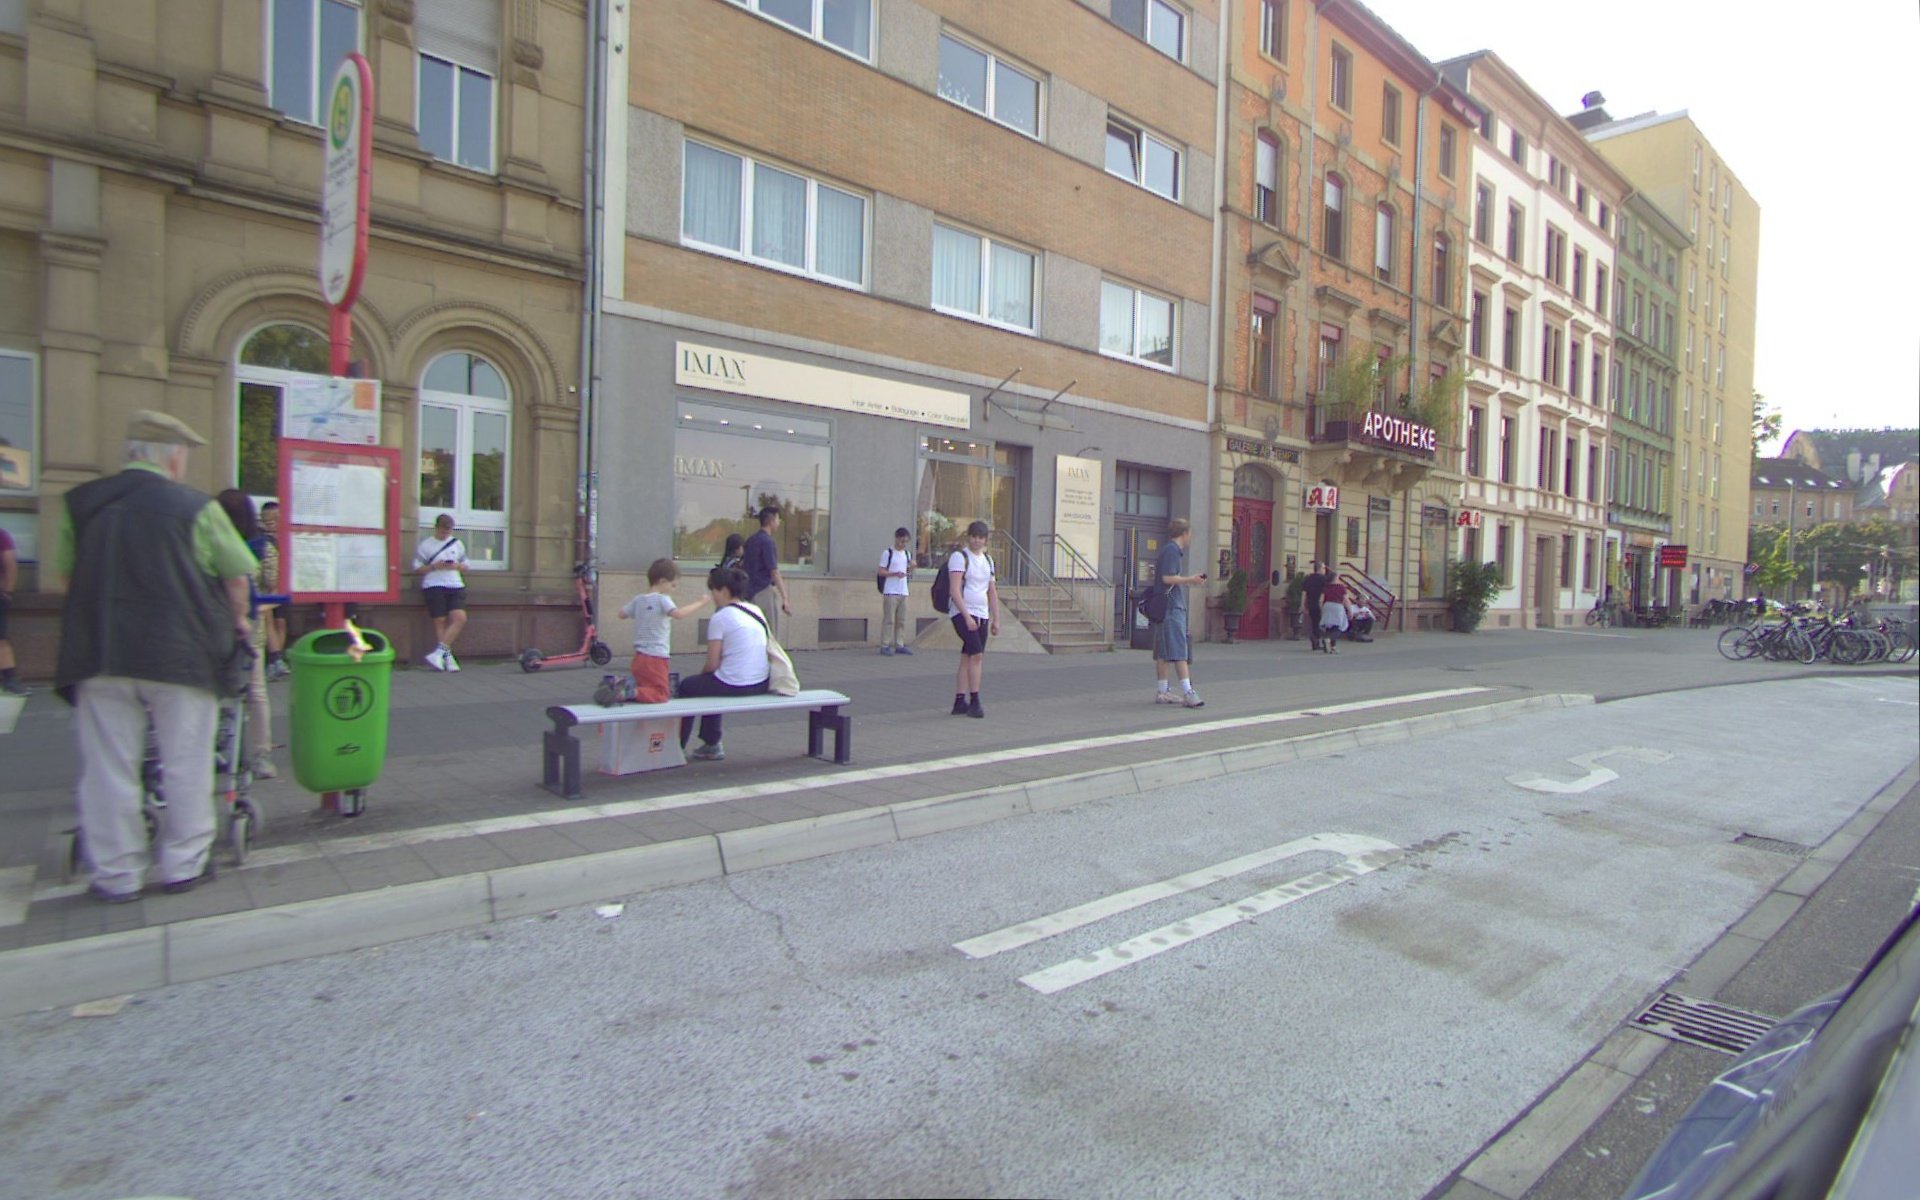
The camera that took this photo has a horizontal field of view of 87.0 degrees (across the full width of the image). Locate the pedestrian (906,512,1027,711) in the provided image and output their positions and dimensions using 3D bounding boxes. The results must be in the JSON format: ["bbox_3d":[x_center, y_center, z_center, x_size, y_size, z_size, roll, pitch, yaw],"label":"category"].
[{"bbox_3d":[0.060,0.087,9.426,0.788,1.750,0.750,1,1,-44],"label":"pedestrian"}]

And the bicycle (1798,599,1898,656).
[{"bbox_3d":[19.779,0.592,22.572,0.379,1.163,1.634,0,2,-45],"label":"bicycle"}]

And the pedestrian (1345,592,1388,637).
[{"bbox_3d":[9.228,0.319,22.997,0.623,0.994,0.615,1,1,-21],"label":"pedestrian"}]

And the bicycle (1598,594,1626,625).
[{"bbox_3d":[24.721,0.350,38.374,1.689,1.148,0.384,0,2,-41],"label":"bicycle"}]

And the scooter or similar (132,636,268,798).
[{"bbox_3d":[-4.014,0.588,5.344,0.506,0.750,0.565,0,2,-44],"label":"scooter or similar"}]

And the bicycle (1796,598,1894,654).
[{"bbox_3d":[20.273,0.580,23.210,0.379,1.163,1.634,0,2,-45],"label":"bicycle"}]

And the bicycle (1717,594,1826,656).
[{"bbox_3d":[16.776,0.498,20.954,0.590,1.163,1.637,0,2,-38],"label":"bicycle"}]

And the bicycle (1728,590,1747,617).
[{"bbox_3d":[38.158,0.173,49.651,0.602,1.277,1.968,2,2,41],"label":"bicycle"}]

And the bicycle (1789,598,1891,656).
[{"bbox_3d":[19.257,0.565,22.176,0.379,1.163,1.634,0,2,-45],"label":"bicycle"}]

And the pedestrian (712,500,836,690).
[{"bbox_3d":[-1.891,-0.055,10.307,1.052,1.826,0.618,0,1,-40],"label":"pedestrian"}]

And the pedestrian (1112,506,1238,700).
[{"bbox_3d":[2.174,0.015,10.266,0.788,1.854,0.926,1,1,-44],"label":"pedestrian"}]

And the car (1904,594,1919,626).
[{"bbox_3d":[45.145,0.491,44.992,4.335,1.441,1.844,1,1,8],"label":"car"}]

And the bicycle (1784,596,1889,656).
[{"bbox_3d":[18.694,0.534,21.611,0.379,1.163,1.634,0,2,-45],"label":"bicycle"}]

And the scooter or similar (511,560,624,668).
[{"bbox_3d":[-4.470,0.144,11.569,1.133,1.177,0.360,0,1,-44],"label":"scooter or similar"}]

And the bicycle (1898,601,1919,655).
[{"bbox_3d":[21.463,0.619,22.826,0.407,1.163,1.630,3,2,43],"label":"bicycle"}]

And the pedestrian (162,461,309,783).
[{"bbox_3d":[-4.230,0.111,5.911,0.607,1.750,0.565,1,1,-44],"label":"pedestrian"}]

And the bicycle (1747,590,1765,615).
[{"bbox_3d":[42.068,0.136,53.476,1.608,1.277,0.469,0,2,-42],"label":"bicycle"}]

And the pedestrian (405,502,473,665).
[{"bbox_3d":[-5.812,-0.188,11.283,0.502,1.753,0.604,1,1,-44],"label":"pedestrian"}]

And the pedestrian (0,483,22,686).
[{"bbox_3d":[-8.241,-0.139,8.447,0.577,1.675,0.604,1,1,-44],"label":"pedestrian"}]

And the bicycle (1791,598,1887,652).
[{"bbox_3d":[20.519,0.574,23.652,0.379,1.163,1.634,0,2,-45],"label":"bicycle"}]

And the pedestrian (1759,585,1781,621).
[{"bbox_3d":[37.670,0.141,47.067,0.724,1.649,0.610,1,1,-40],"label":"pedestrian"}]

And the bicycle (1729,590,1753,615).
[{"bbox_3d":[39.748,0.122,51.479,1.817,1.277,0.603,0,2,-42],"label":"bicycle"}]

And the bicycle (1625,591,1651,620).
[{"bbox_3d":[27.207,0.215,40.619,1.689,1.148,0.384,0,2,-41],"label":"bicycle"}]

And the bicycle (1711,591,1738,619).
[{"bbox_3d":[36.126,0.218,47.832,1.962,1.277,0.603,0,2,-41],"label":"bicycle"}]

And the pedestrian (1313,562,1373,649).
[{"bbox_3d":[7.408,0.095,19.580,0.841,1.630,0.721,0,1,-40],"label":"pedestrian"}]

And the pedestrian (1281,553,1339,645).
[{"bbox_3d":[7.008,-0.032,20.268,0.841,1.809,0.721,0,1,-40],"label":"pedestrian"}]

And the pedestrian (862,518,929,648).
[{"bbox_3d":[-0.941,-0.251,14.852,0.730,1.854,0.604,1,1,-44],"label":"pedestrian"}]

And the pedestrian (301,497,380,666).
[{"bbox_3d":[-6.521,-0.197,10.654,0.577,1.713,0.604,1,1,-44],"label":"pedestrian"}]

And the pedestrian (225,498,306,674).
[{"bbox_3d":[-7.037,-0.145,10.252,0.577,1.713,0.604,1,1,-44],"label":"pedestrian"}]

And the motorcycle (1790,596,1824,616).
[{"bbox_3d":[52.268,0.372,62.442,2.253,1.161,0.707,1,1,-25],"label":"motorcycle"}]

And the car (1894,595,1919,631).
[{"bbox_3d":[41.591,0.563,42.253,3.469,1.482,1.620,1,1,8],"label":"car"}]

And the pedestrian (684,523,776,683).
[{"bbox_3d":[-2.436,0.024,10.749,0.798,1.630,0.487,0,1,-40],"label":"pedestrian"}]

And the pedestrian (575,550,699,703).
[{"bbox_3d":[-1.846,0.139,5.808,0.303,0.830,0.595,2,1,42],"label":"pedestrian"}]

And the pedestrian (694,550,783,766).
[{"bbox_3d":[-1.379,0.344,6.304,0.275,1.290,0.441,2,1,42],"label":"pedestrian"}]

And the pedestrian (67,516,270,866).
[{"bbox_3d":[-3.237,0.326,4.137,0.587,1.293,0.565,1,1,-45],"label":"pedestrian"}]

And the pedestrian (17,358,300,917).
[{"bbox_3d":[-2.870,0.110,3.630,0.733,1.750,0.565,1,1,-44],"label":"pedestrian"}]

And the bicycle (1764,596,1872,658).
[{"bbox_3d":[17.630,0.535,20.818,0.379,1.163,1.634,0,2,-45],"label":"bicycle"}]

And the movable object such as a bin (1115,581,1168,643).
[{"bbox_3d":[3.325,0.211,18.506,0.733,1.094,0.662,2,1,33],"label":"movable object such as a bin"}]

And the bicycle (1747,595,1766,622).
[{"bbox_3d":[38.965,0.388,49.507,0.602,1.277,1.968,2,2,41],"label":"bicycle"}]

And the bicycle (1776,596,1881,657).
[{"bbox_3d":[18.236,0.535,21.278,0.379,1.163,1.634,0,2,-45],"label":"bicycle"}]
